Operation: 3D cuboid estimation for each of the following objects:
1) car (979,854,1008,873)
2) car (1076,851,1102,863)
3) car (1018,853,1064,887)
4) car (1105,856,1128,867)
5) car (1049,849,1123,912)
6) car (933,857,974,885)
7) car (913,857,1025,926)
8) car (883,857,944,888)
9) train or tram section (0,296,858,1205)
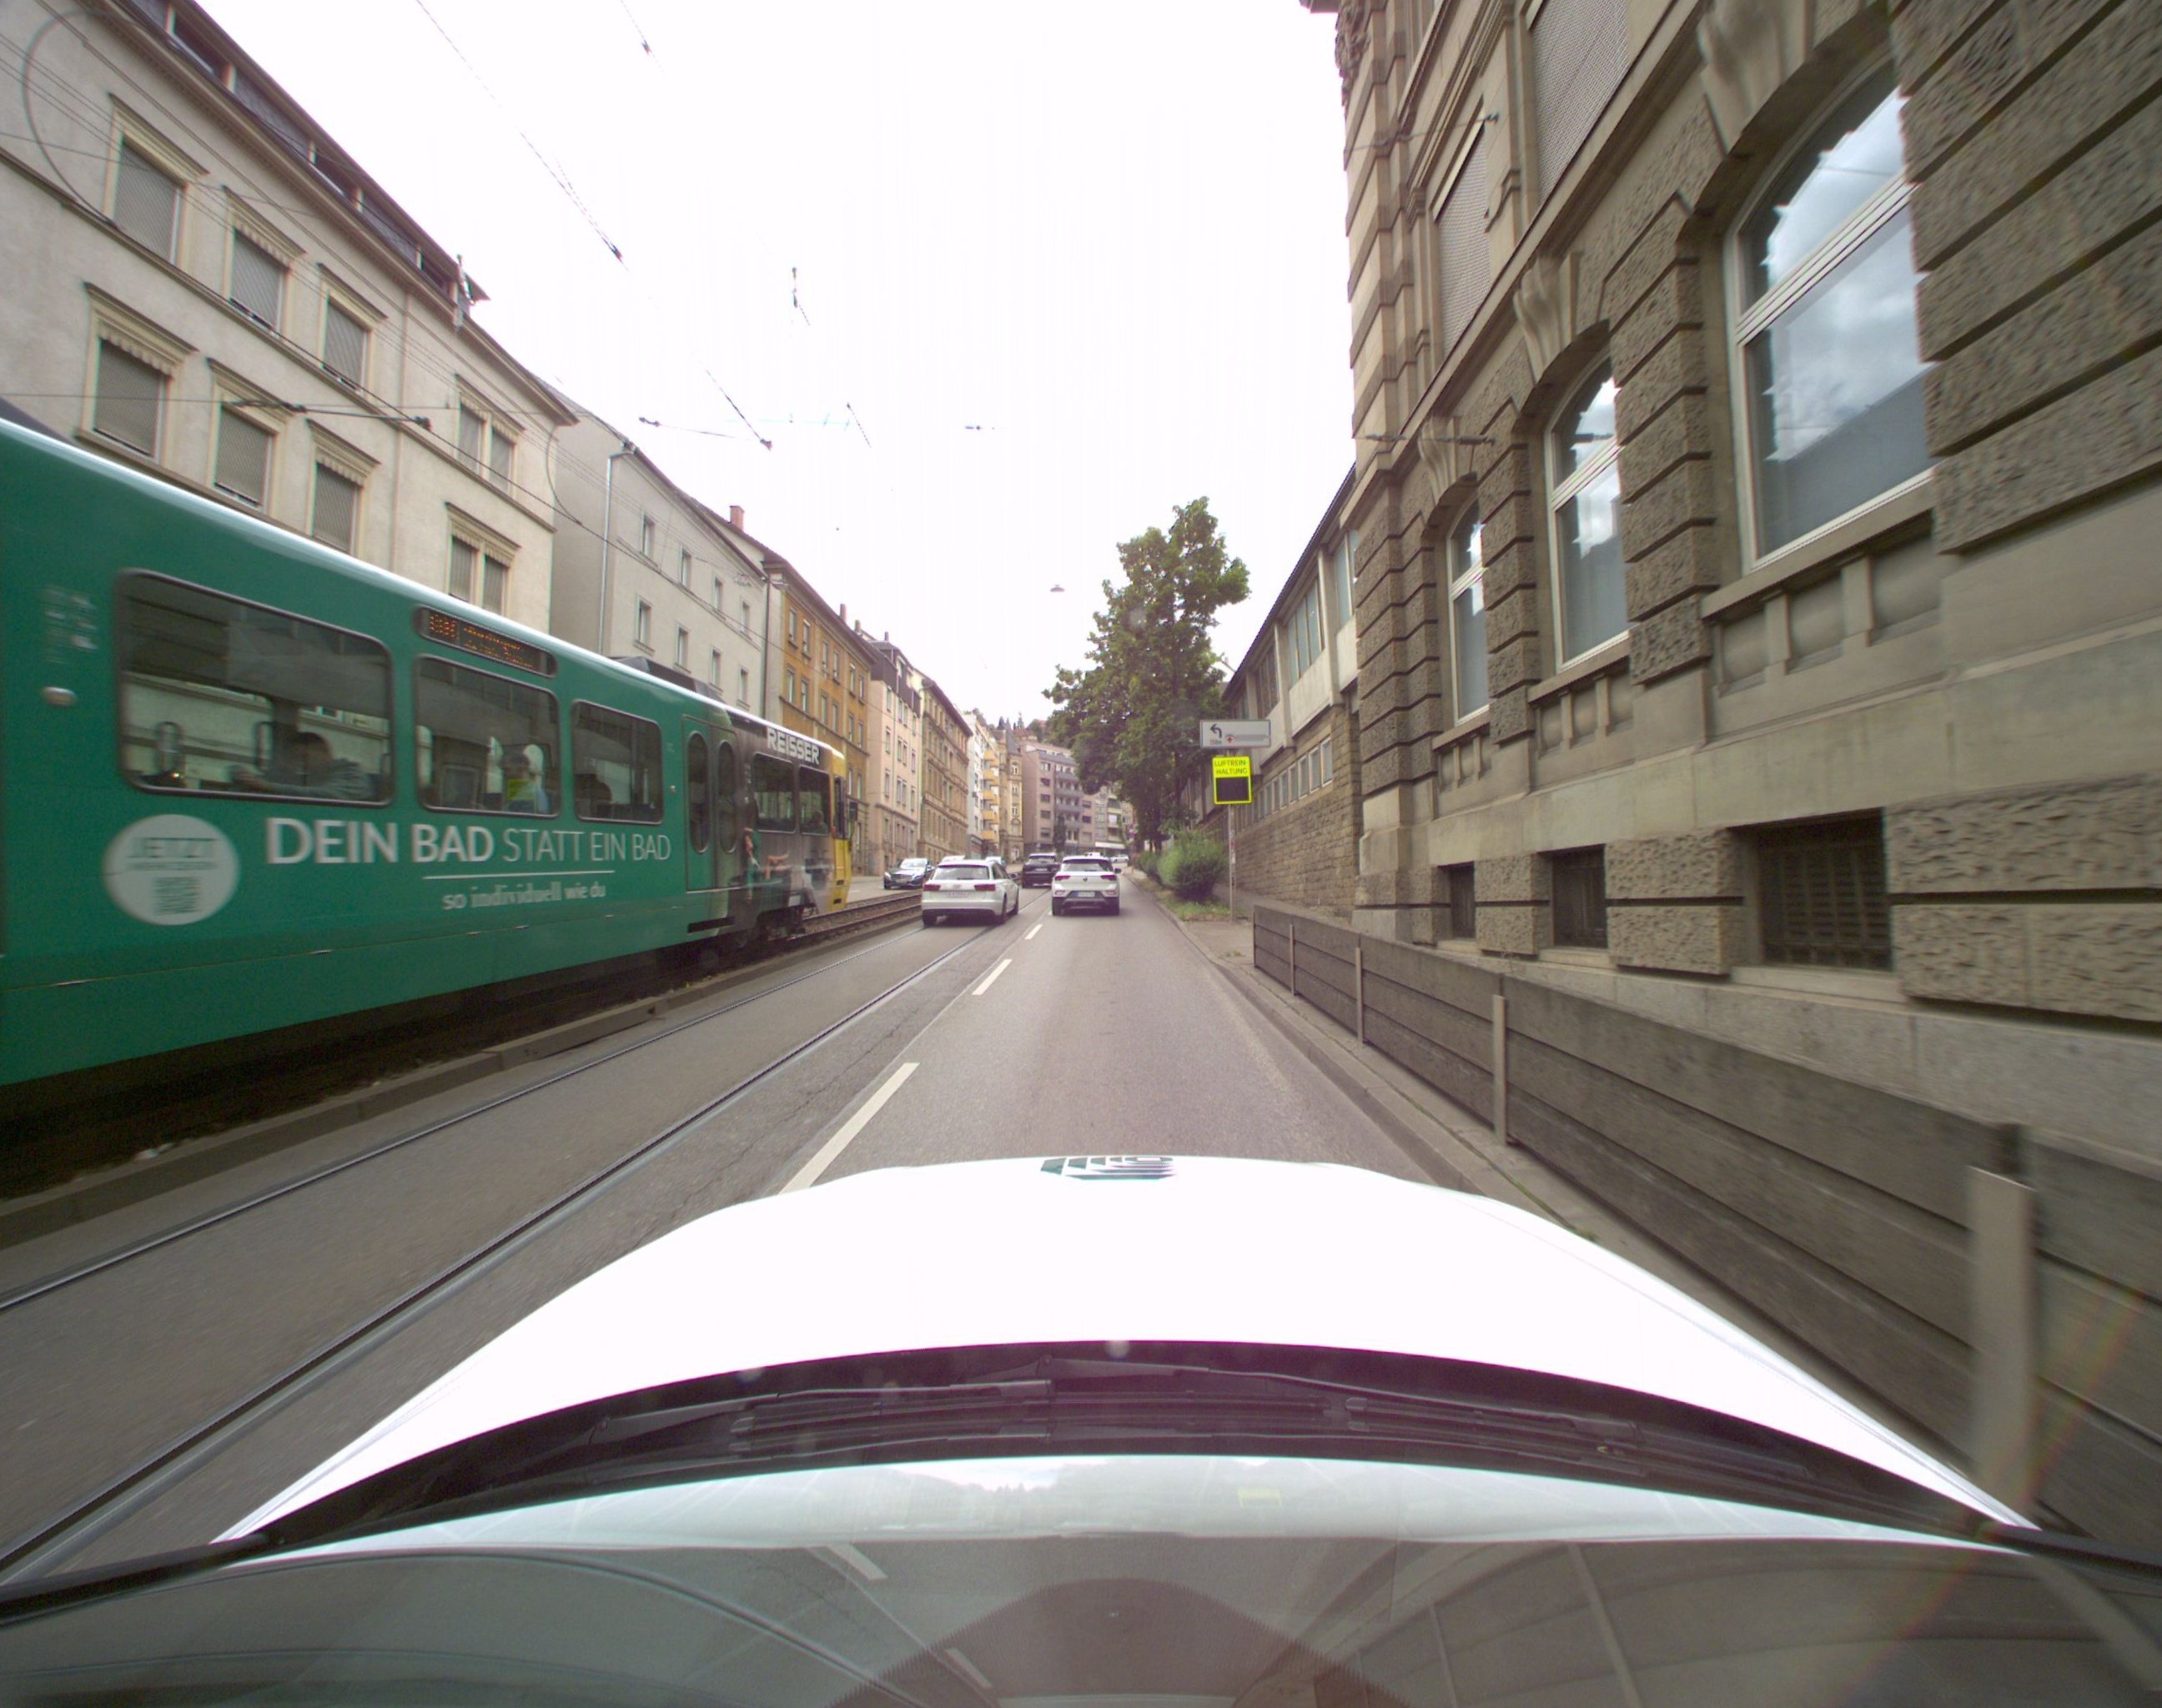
[{"bbox_3d":[-7.289,0.764,68.085,1.836,1.455,4.662,0,0,1],"label":"car"},{"bbox_3d":[1.449,0.465,144.210,1.974,2.035,4.731,0,0,40],"label":"car"},{"bbox_3d":[-1.897,0.735,39.751,2.031,1.571,4.357,0,0,0],"label":"car"},{"bbox_3d":[6.560,1.360,149.492,1.885,1.922,4.463,0,0,40],"label":"car"},{"bbox_3d":[0.106,0.699,22.546,1.873,1.555,3.998,0,-1,-1],"label":"car"},{"bbox_3d":[-7.698,1.015,49.503,1.737,1.596,3.970,0,0,1],"label":"car"},{"bbox_3d":[-2.532,0.797,19.621,1.871,1.455,4.620,0,0,2],"label":"car"},{"bbox_3d":[-7.893,0.824,38.772,1.805,1.361,4.766,0,0,1],"label":"car"},{"bbox_3d":[-5.810,-0.445,5.572,2.866,3.725,18.762,1,0,2],"label":"train or tram section"}]
